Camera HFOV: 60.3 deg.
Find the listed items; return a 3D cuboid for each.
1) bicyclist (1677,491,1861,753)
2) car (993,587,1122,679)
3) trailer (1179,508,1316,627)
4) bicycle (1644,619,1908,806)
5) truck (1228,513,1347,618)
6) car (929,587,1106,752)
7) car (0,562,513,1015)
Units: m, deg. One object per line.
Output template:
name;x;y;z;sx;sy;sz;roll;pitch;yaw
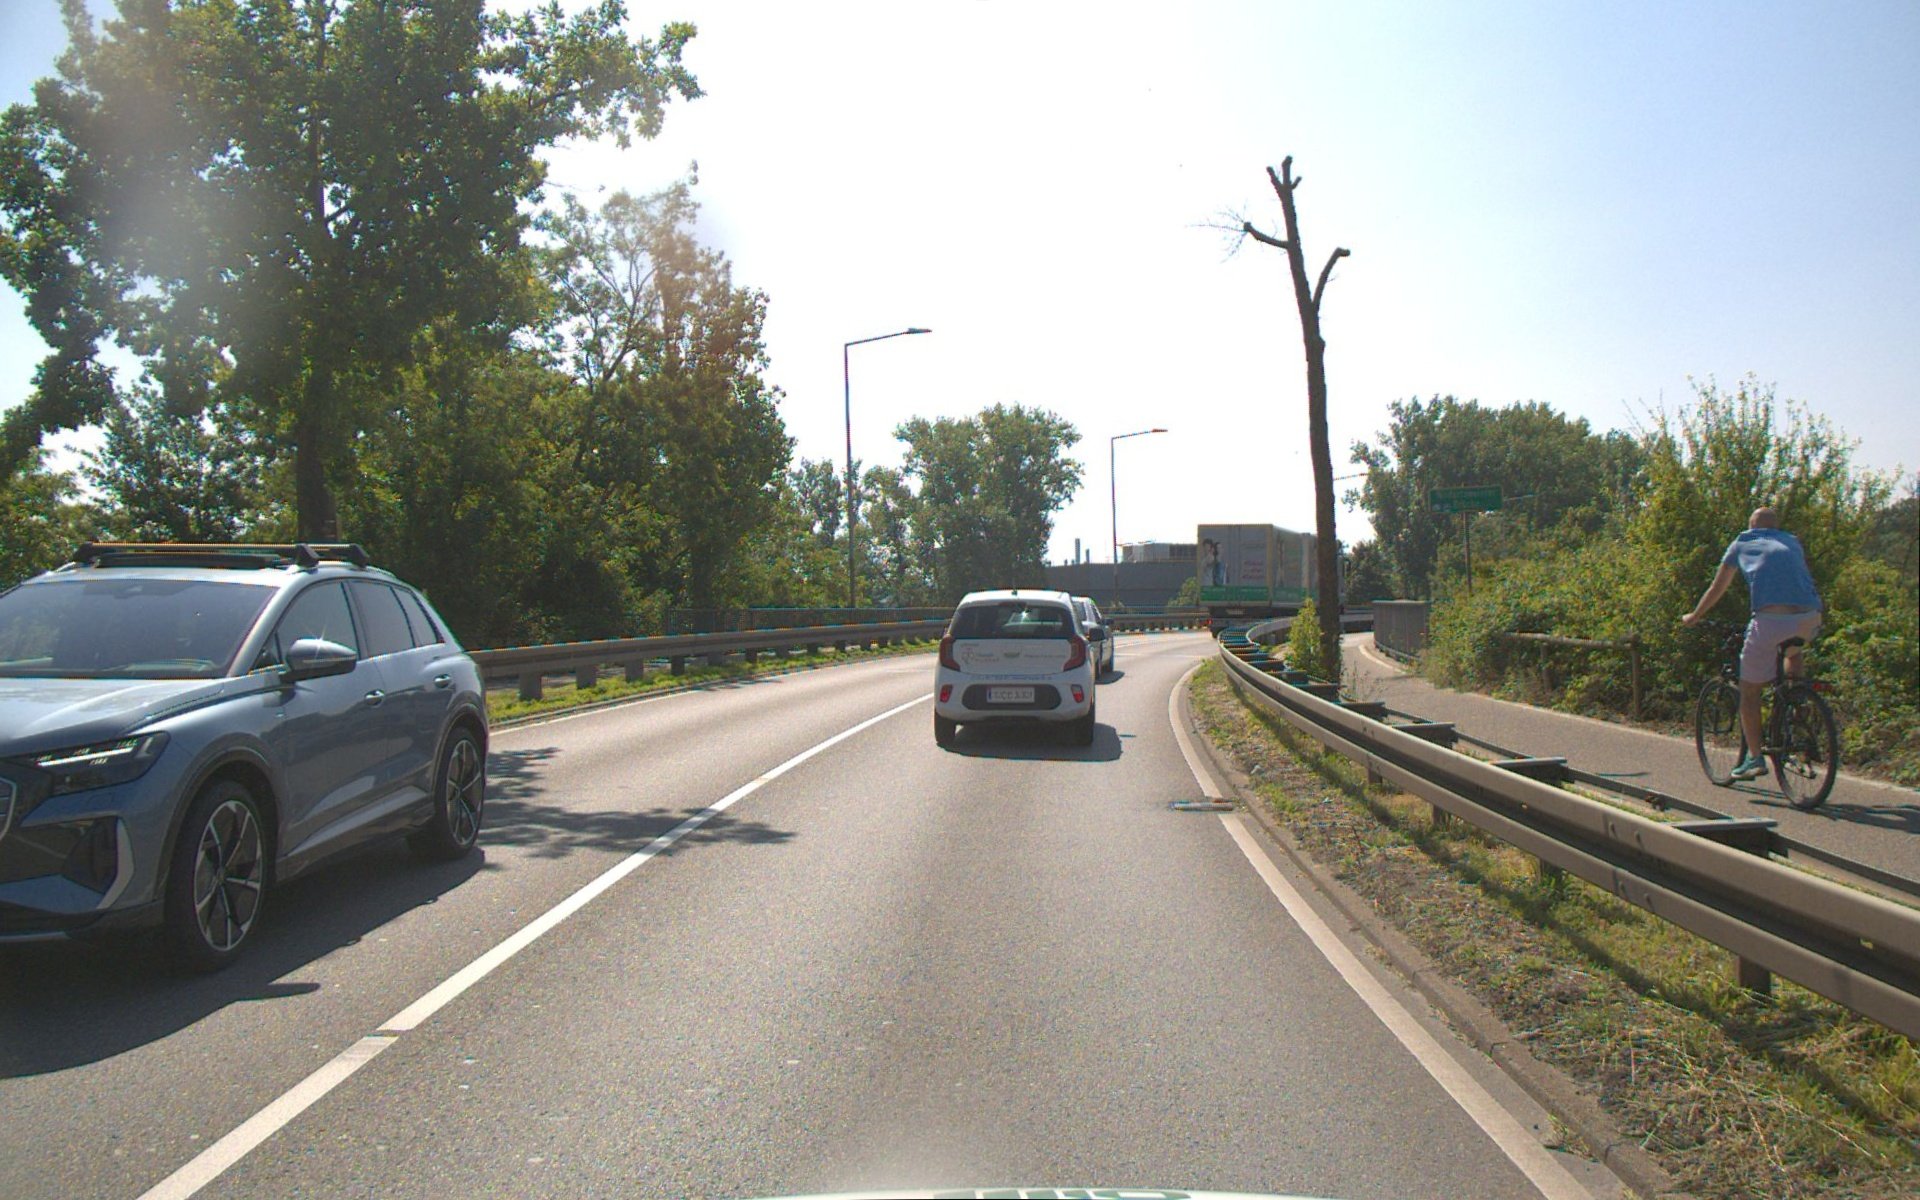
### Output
bicyclist;5.081;0.139;10.435;0.645;1.546;0.802;-4;-1;-3
car;1.859;0.533;29.987;1.897;1.512;4.904;0;0;9
trailer;10.106;-1.182;57.444;3.158;3.823;7.826;1;2;21
bicycle;5.125;0.668;10.538;0.688;1.037;1.845;-4;-1;-1
truck;12.960;-1.409;64.841;3.193;3.823;8.372;1;2;21
car;0.702;0.645;17.724;1.666;1.520;4.002;1;1;4
car;-3.696;0.639;7.787;1.890;1.560;4.119;0;0;3
